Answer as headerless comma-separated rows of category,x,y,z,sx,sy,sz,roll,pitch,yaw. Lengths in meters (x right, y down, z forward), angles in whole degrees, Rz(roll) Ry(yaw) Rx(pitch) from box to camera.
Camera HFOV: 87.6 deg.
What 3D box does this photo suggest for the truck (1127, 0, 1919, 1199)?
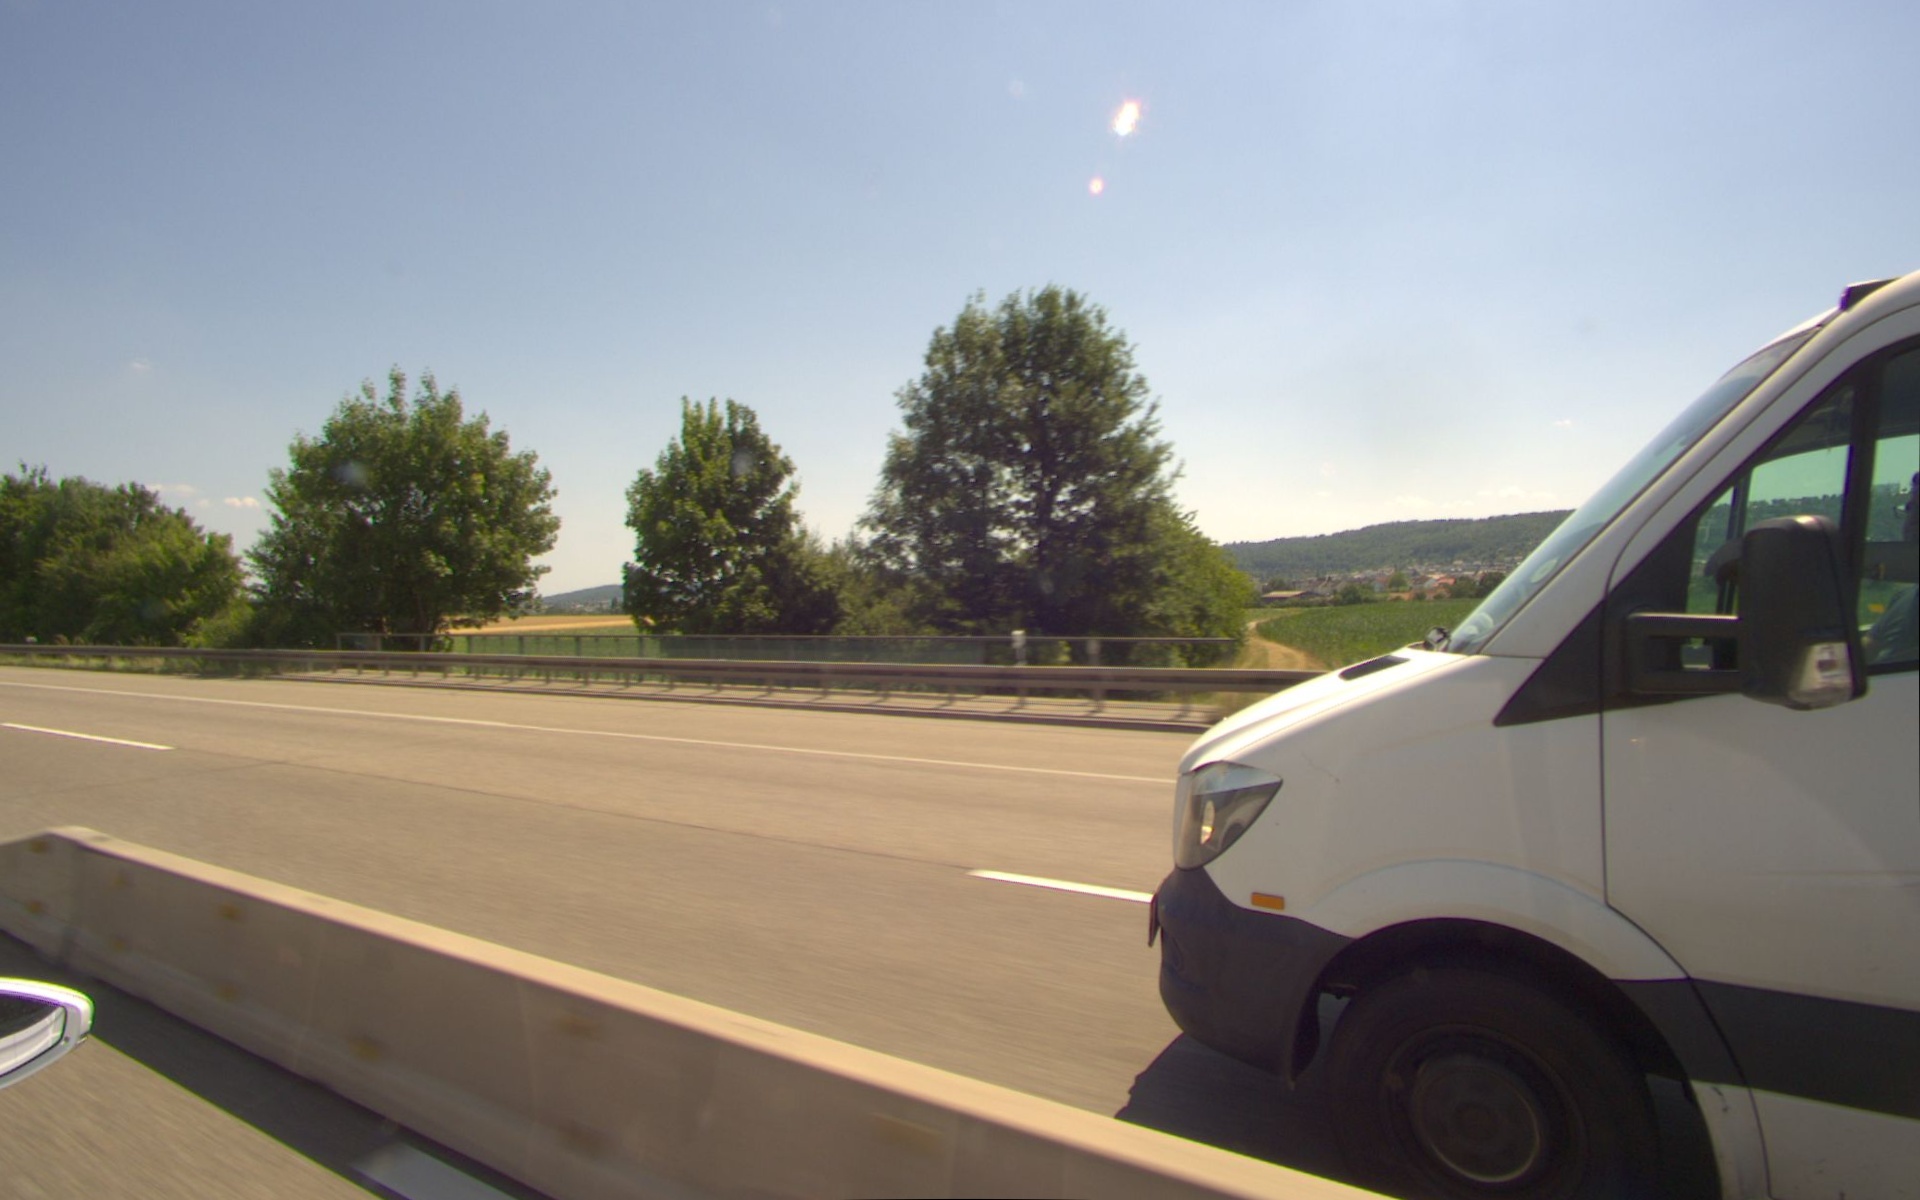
truck,3.840,-0.055,1.730,6.654,3.107,2.317,0,-1,32
